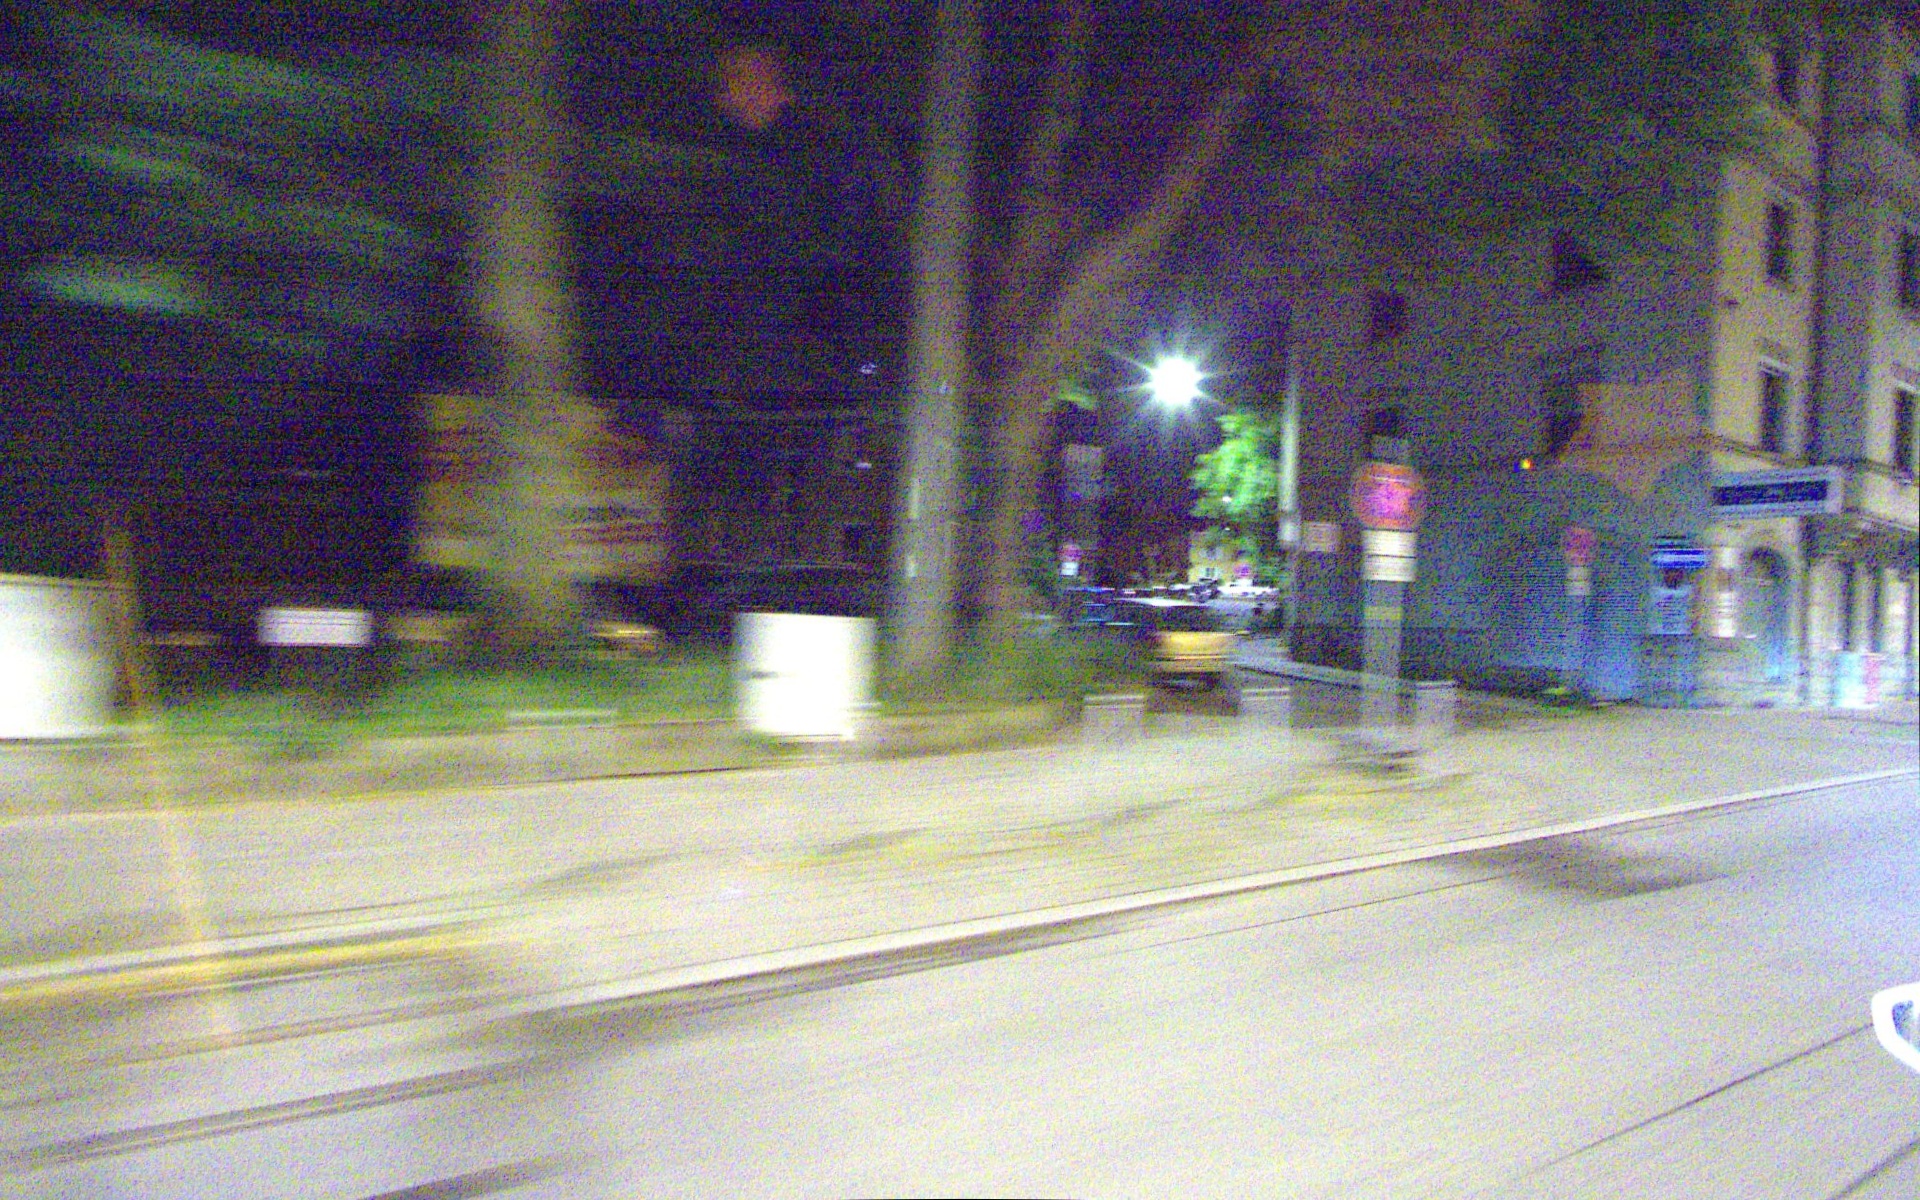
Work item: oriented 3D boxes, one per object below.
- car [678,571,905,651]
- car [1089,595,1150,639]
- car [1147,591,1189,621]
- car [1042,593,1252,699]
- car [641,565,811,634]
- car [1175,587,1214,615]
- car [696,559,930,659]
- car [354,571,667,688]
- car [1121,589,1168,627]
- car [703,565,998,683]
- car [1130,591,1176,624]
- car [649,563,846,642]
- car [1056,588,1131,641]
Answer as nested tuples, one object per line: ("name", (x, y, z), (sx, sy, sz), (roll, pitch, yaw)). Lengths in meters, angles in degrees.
("car", (-3.418, 0.224, 20.359), (4.263, 1.437, 1.669), (2, 1, -21))
("car", (5.842, 0.569, 36.476), (1.541, 1.471, 3.442), (2, 1, 20))
("car", (11.212, 0.306, 53.975), (1.733, 1.501, 3.711), (2, 1, 19))
("car", (3.036, 0.709, 17.208), (1.735, 1.444, 3.981), (2, 2, -20))
("car", (-5.940, 0.011, 25.399), (3.941, 1.559, 1.881), (2, 0, -21))
("car", (14.671, 0.064, 62.753), (1.778, 1.656, 3.622), (2, 0, 22))
("car", (-2.718, 0.158, 18.454), (3.921, 1.627, 1.753), (2, 2, -21))
("car", (-5.785, 0.374, 13.023), (3.523, 1.334, 1.547), (2, 0, -32))
("car", (8.369, 0.328, 45.325), (1.733, 1.501, 3.712), (2, 2, 15))
("car", (-1.649, 0.361, 15.484), (4.139, 1.558, 1.747), (2, 2, -31))
("car", (9.667, 0.329, 50.107), (1.733, 1.501, 3.711), (2, 1, 18))
("car", (-4.767, 0.077, 22.417), (4.087, 1.563, 1.843), (2, 0, -19))
("car", (4.361, 0.458, 32.434), (1.697, 1.581, 3.382), (2, 0, 20))
